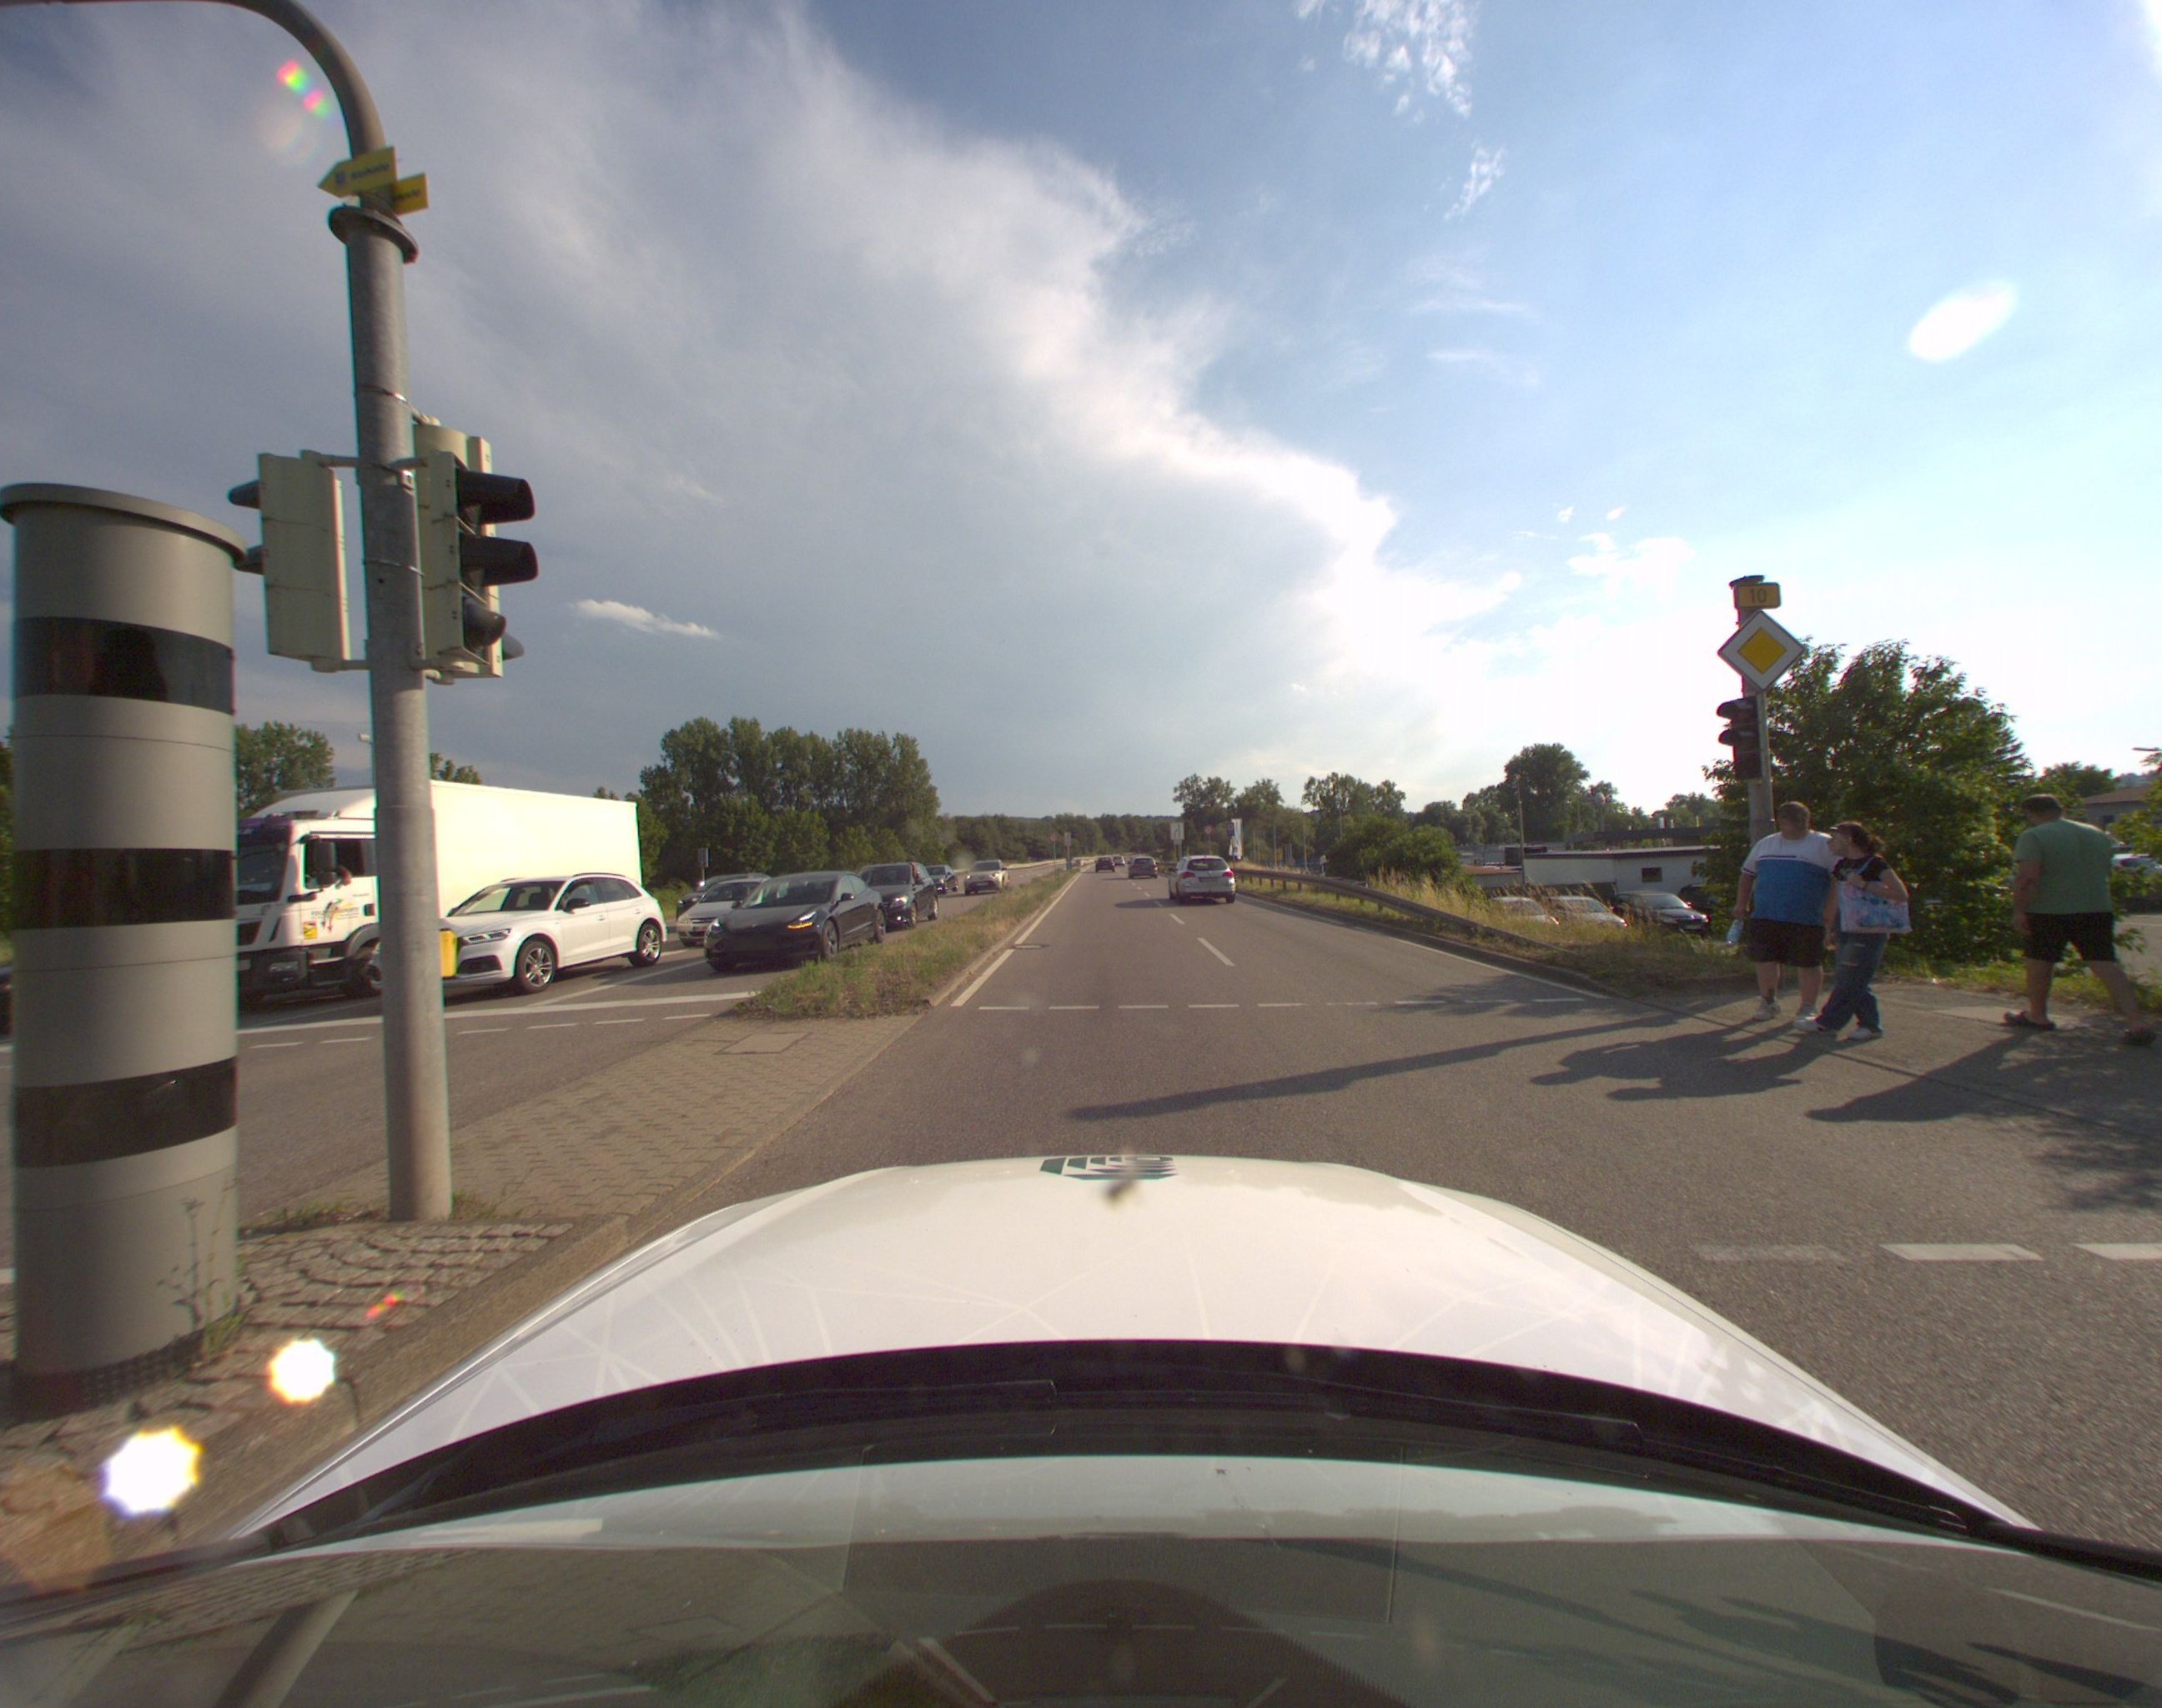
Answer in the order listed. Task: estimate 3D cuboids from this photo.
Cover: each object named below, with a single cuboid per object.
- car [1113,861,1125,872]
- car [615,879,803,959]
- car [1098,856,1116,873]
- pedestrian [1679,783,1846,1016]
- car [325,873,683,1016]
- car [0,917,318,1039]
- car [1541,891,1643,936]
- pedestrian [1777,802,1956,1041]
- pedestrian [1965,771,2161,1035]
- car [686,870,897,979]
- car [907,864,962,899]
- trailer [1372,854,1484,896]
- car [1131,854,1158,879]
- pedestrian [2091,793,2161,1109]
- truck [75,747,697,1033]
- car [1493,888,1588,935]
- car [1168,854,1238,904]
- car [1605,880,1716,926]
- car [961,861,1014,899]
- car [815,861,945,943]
[{"bbox_3d":[5.037,1.650,107.642,1.486,1.476,3.361,-1,-1,3],"label":"car"},{"bbox_3d":[-8.030,1.323,18.219,1.696,1.405,5.082,-3,-1,1],"label":"car"},{"bbox_3d":[2.423,0.976,74.941,1.486,1.476,3.361,-1,-1,3],"label":"car"},{"bbox_3d":[5.922,0.383,7.131,0.616,1.883,0.861,-3,-2,1],"label":"pedestrian"},{"bbox_3d":[-8.445,1.191,12.652,1.986,1.678,4.807,-3,-1,1],"label":"car"},{"bbox_3d":[-14.948,1.860,12.871,1.806,1.376,4.002,-4,-1,3],"label":"car"},{"bbox_3d":[17.952,2.067,28.808,1.522,1.371,3.588,-1,-1,4],"label":"car"},{"bbox_3d":[5.934,0.490,6.190,0.592,1.683,0.633,-4,-2,1],"label":"pedestrian"},{"bbox_3d":[6.952,0.339,5.793,0.528,1.749,0.538,-6,-2,6],"label":"pedestrian"},{"bbox_3d":[-4.676,1.049,14.049,1.784,1.466,4.928,-3,-1,0],"label":"car"},{"bbox_3d":[-7.338,1.337,41.214,1.709,1.464,4.728,-4,0,1],"label":"car"},{"bbox_3d":[28.467,1.736,67.168,7.838,3.323,3.364,-1,-1,6],"label":"trailer"},{"bbox_3d":[4.149,0.841,53.348,1.660,1.574,4.003,0,-1,3],"label":"car"},{"bbox_3d":[6.021,0.511,4.291,0.570,1.678,0.622,-1,-2,-3],"label":"pedestrian"},{"bbox_3d":[-12.040,0.602,16.401,2.921,3.690,10.506,-5,-1,3],"label":"truck"},{"bbox_3d":[16.210,1.998,28.900,1.522,1.485,3.588,-1,-1,4],"label":"car"},{"bbox_3d":[3.858,0.790,26.261,1.802,1.486,4.002,-1,-1,2],"label":"car"},{"bbox_3d":[20.296,1.677,28.682,1.522,1.485,3.588,-1,-1,4],"label":"car"},{"bbox_3d":[-4.236,1.173,37.472,1.774,1.520,4.001,-4,-1,2],"label":"car"},{"bbox_3d":[-4.621,1.036,19.476,1.774,1.537,4.573,-3,1,2],"label":"car"}]
